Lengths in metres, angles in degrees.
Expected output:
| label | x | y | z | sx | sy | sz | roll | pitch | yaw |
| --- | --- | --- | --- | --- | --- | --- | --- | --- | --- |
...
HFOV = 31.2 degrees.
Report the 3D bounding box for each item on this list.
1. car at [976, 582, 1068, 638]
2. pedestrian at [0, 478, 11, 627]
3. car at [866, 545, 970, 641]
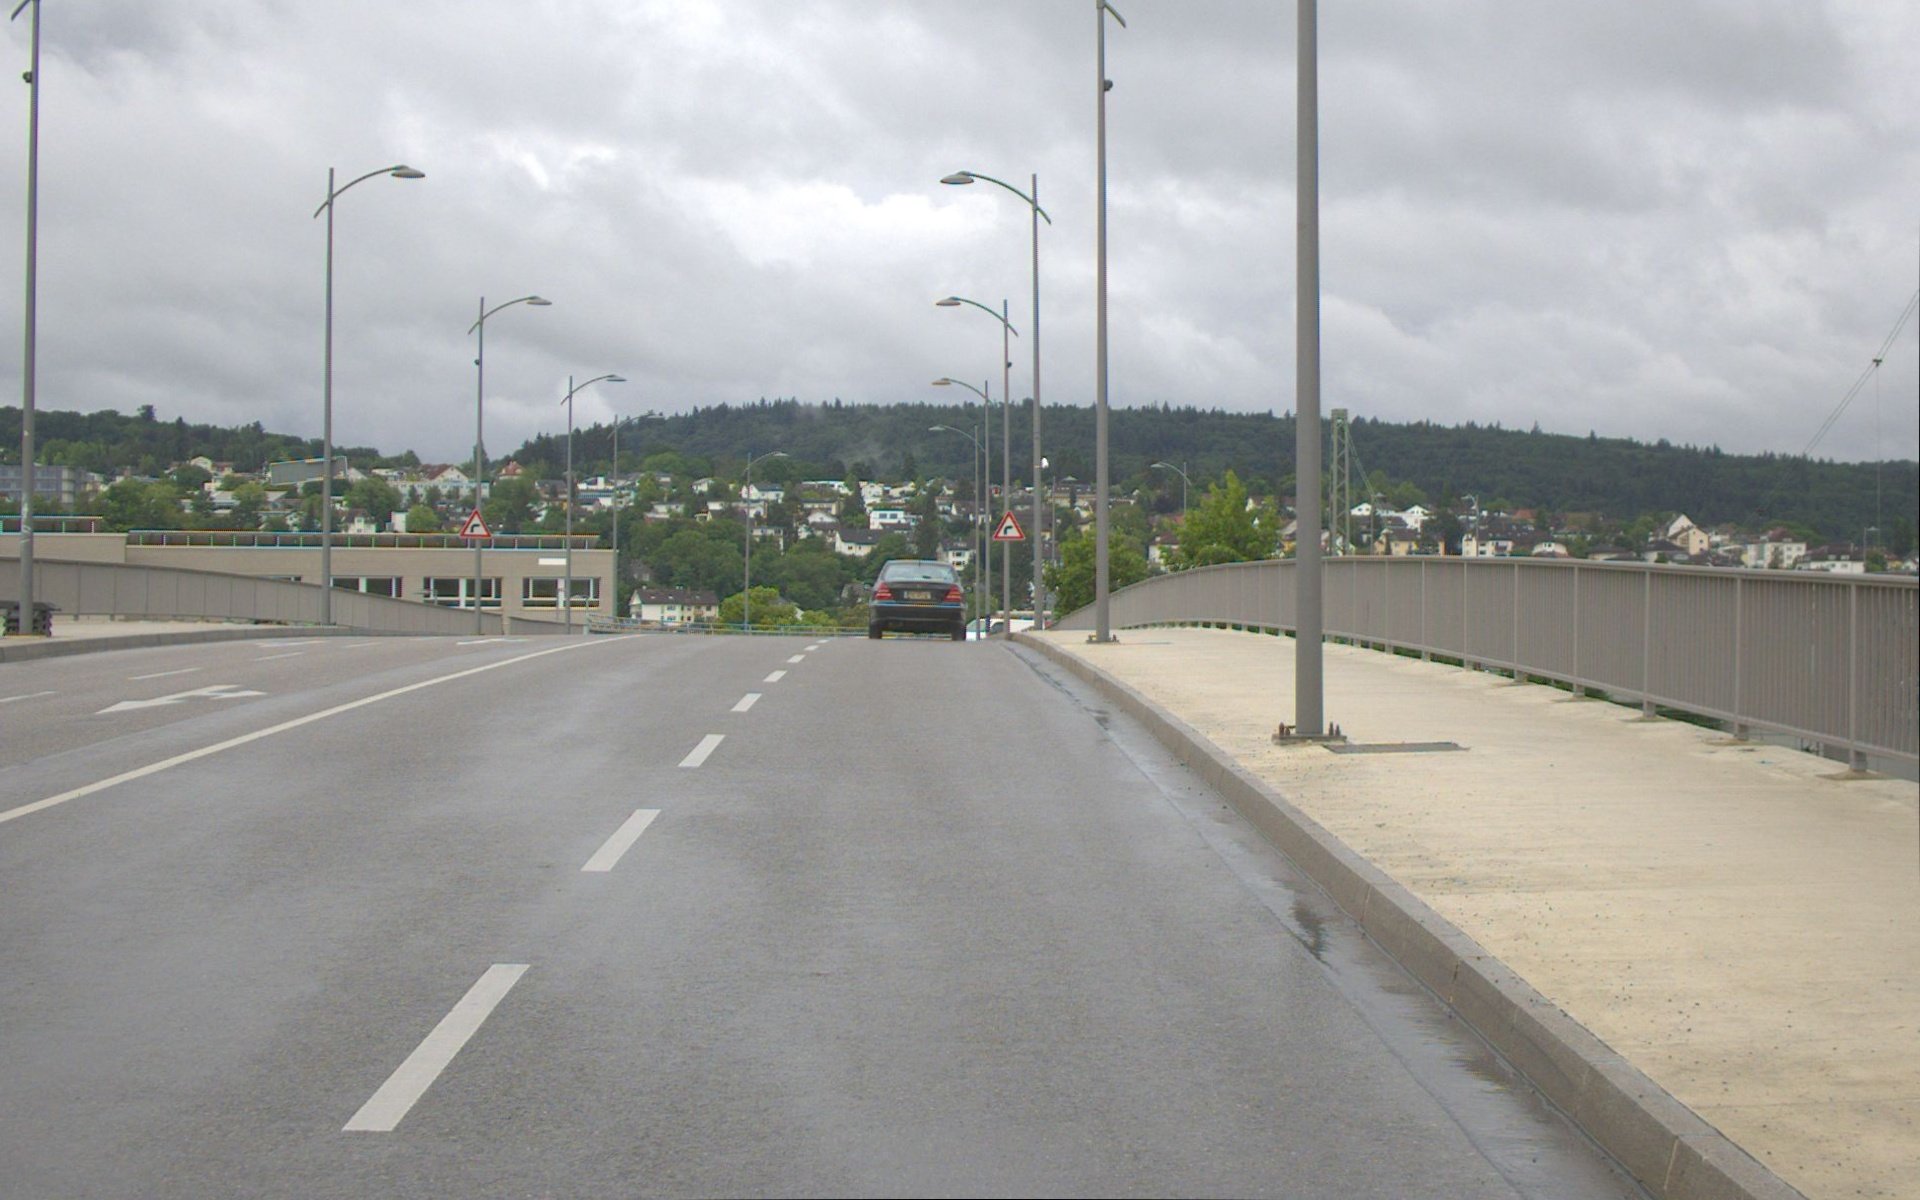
| label | x | y | z | sx | sy | sz | roll | pitch | yaw |
| --- | --- | --- | --- | --- | --- | --- | --- | --- | --- |
| car | 2.840 | 0.472 | 156.038 | 1.957 | 2.092 | 4.081 | -7 | -9 | 41 |
| pedestrian | -13.677 | -0.669 | 47.688 | 0.756 | 2.041 | 0.891 | 1 | -3 | -1 |
| car | -0.731 | -0.091 | 59.963 | 1.754 | 1.474 | 3.999 | 1 | -3 | -1 |
